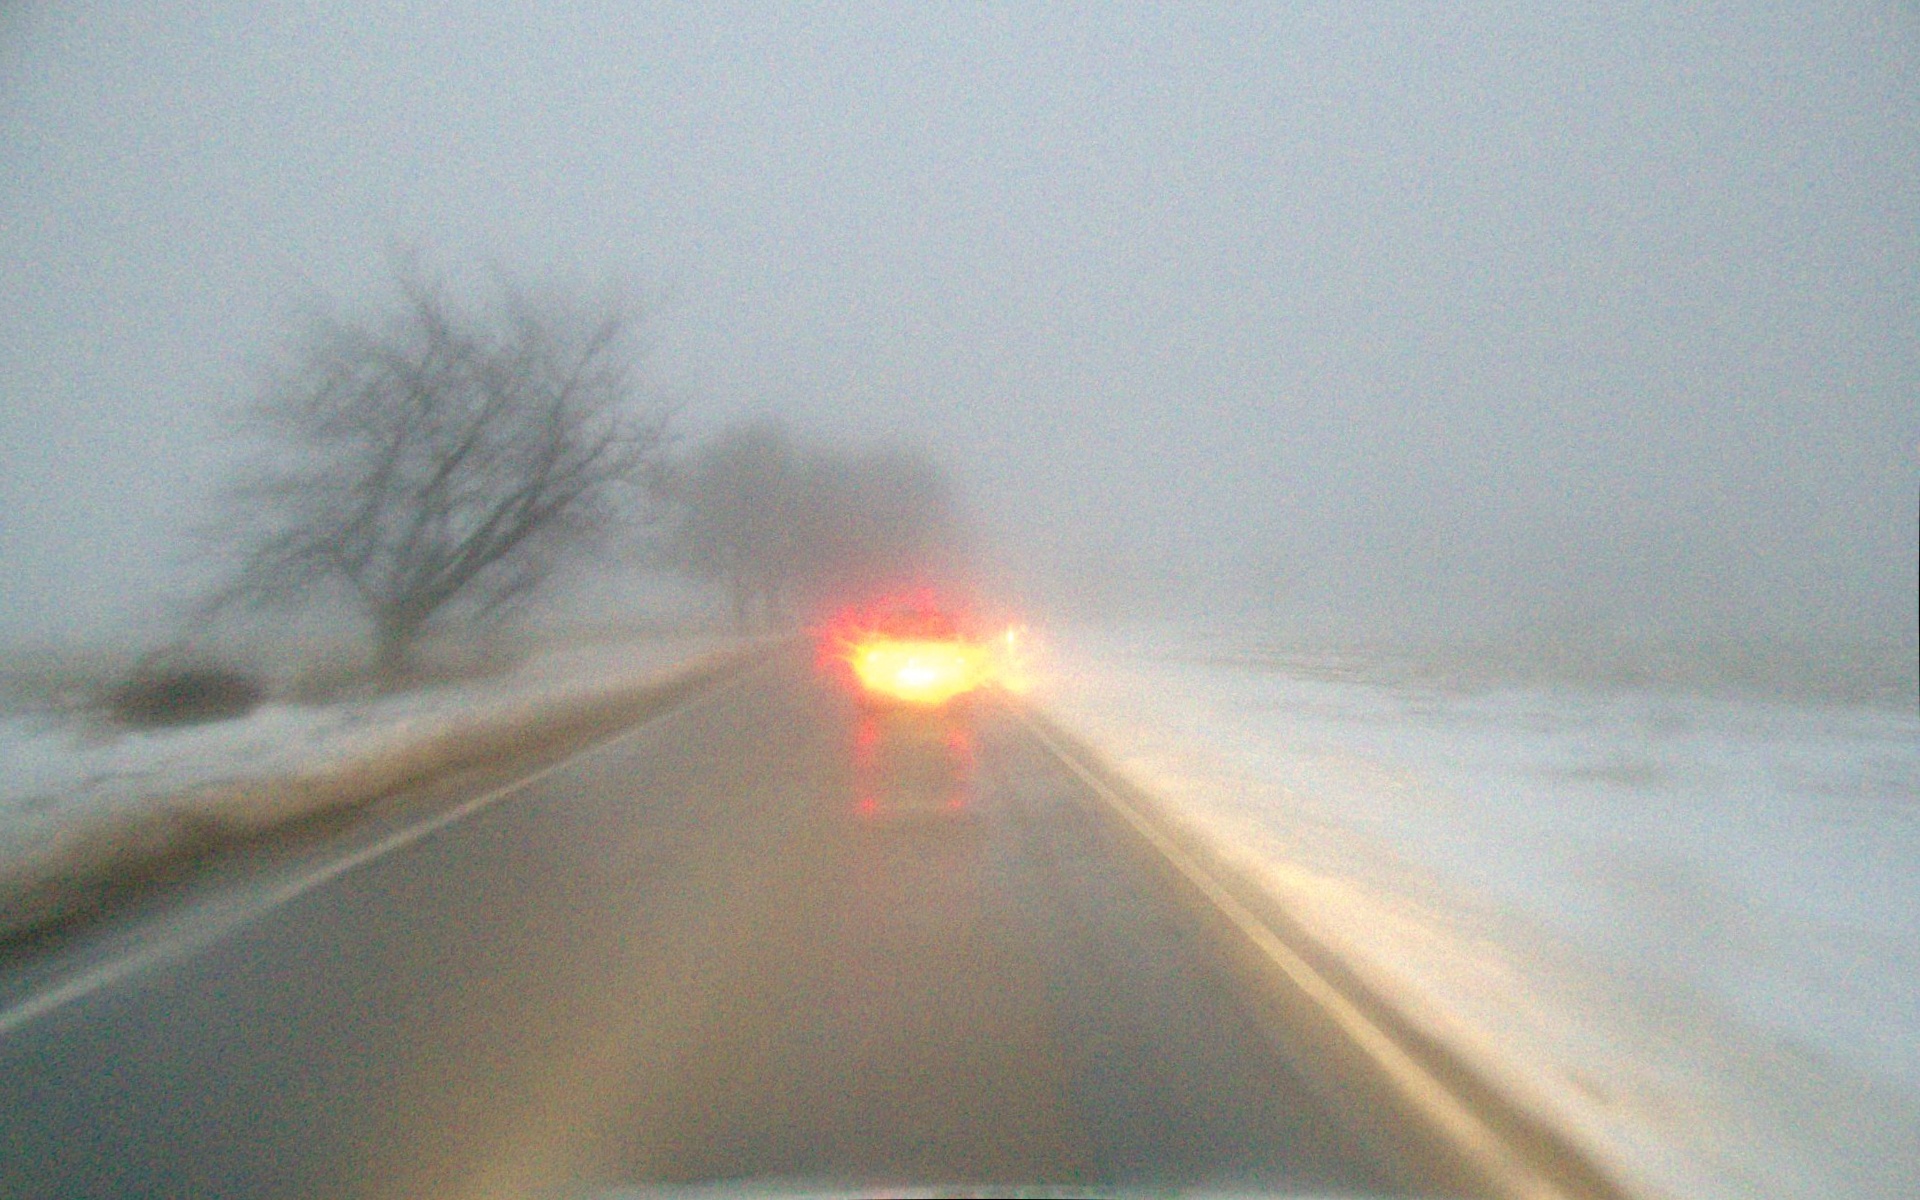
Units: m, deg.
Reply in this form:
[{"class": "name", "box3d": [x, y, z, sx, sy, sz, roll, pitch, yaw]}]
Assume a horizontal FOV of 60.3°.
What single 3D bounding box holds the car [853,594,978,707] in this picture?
[{"class": "car", "box3d": [-0.610, 0.691, 24.786, 1.672, 1.489, 4.000, 2, 0, 0]}]
